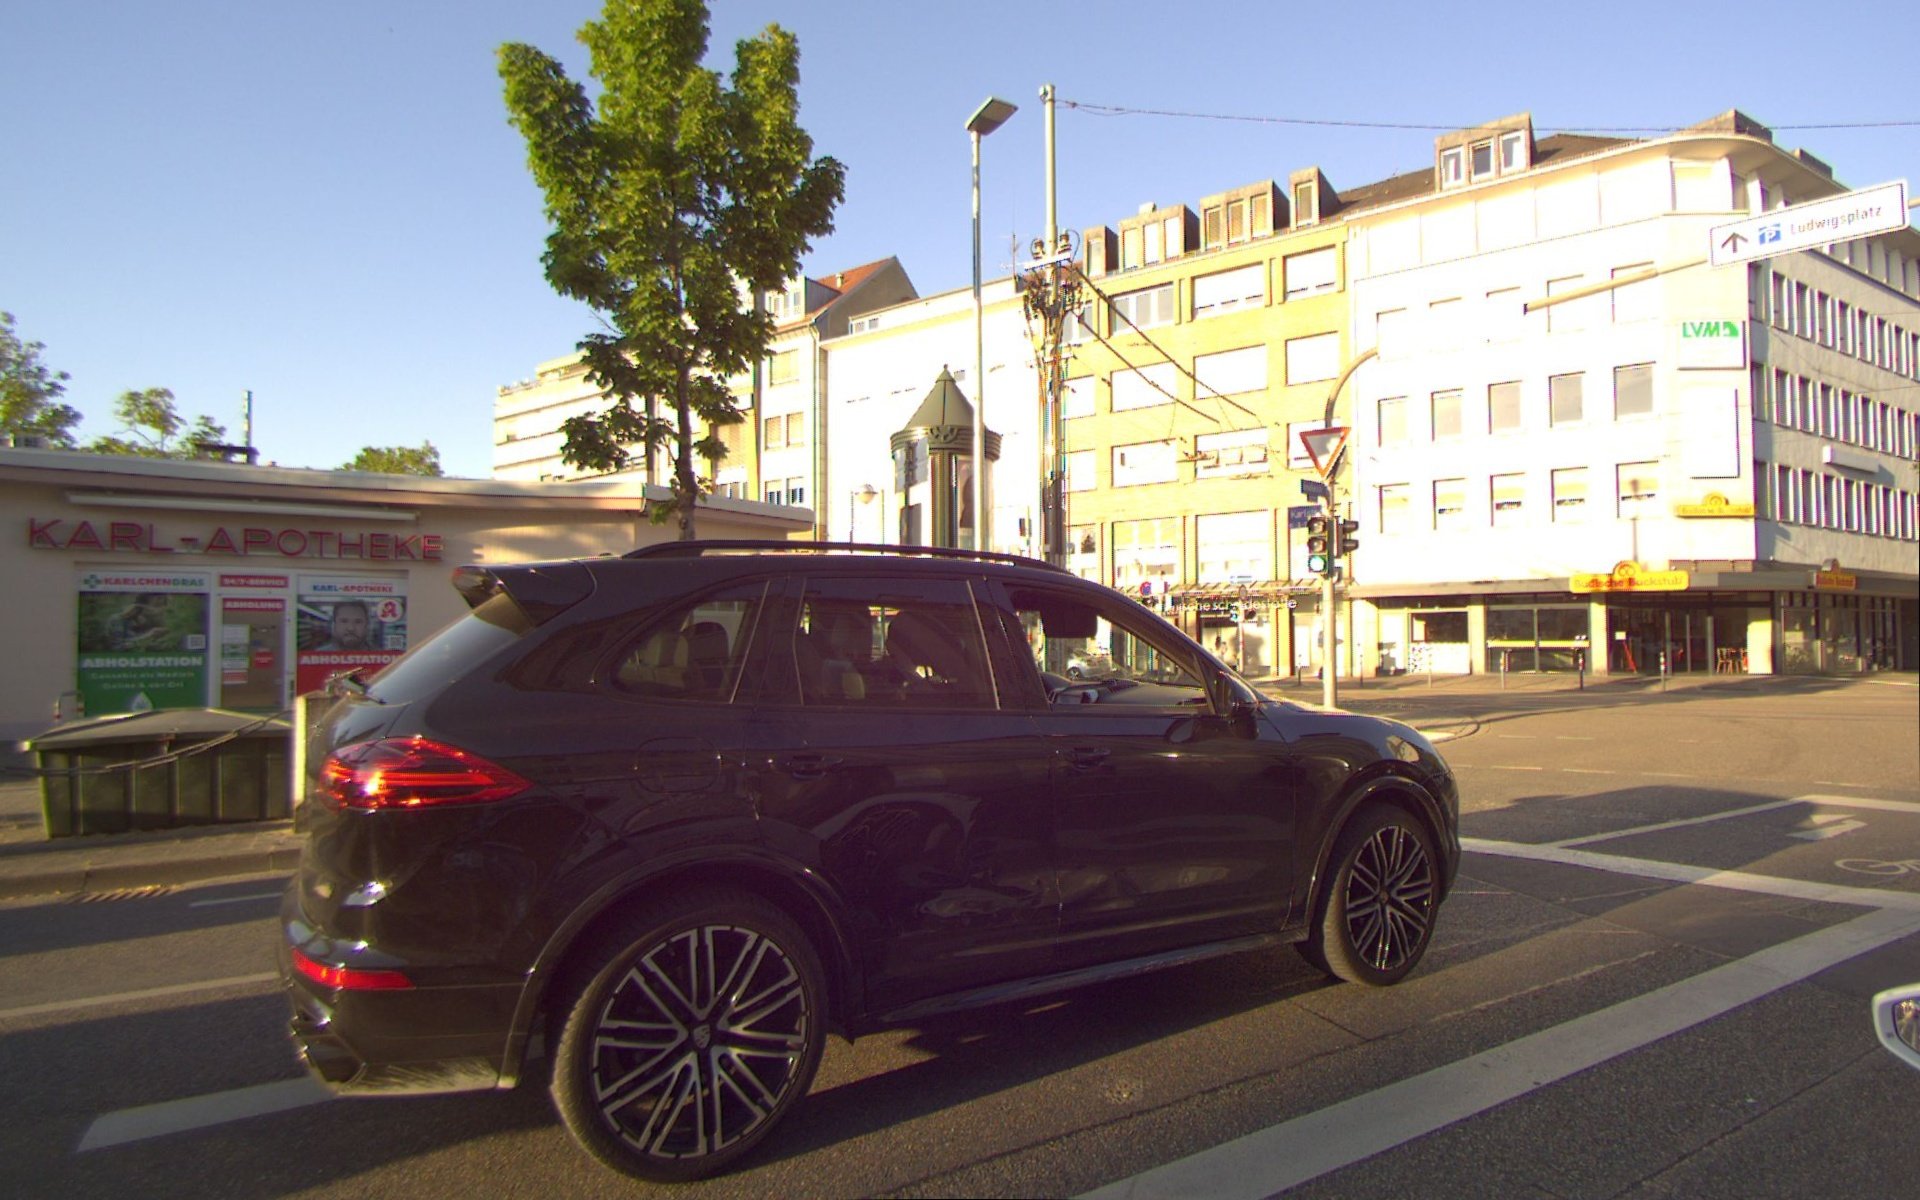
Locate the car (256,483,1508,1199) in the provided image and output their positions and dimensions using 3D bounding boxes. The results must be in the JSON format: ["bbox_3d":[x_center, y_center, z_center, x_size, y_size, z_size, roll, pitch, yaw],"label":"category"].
[{"bbox_3d":[0.025,0.677,4.046,4.516,1.720,1.792,1,-2,-31],"label":"car"}]

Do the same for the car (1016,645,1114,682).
[{"bbox_3d":[4.020,2.437,38.508,3.334,1.270,1.631,-3,-1,36],"label":"car"}]

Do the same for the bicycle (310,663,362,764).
[{"bbox_3d":[-7.631,1.345,12.325,0.443,1.128,1.858,2,-3,-29],"label":"bicycle"}]

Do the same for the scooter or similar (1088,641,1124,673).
[{"bbox_3d":[6.049,2.369,41.683,1.443,1.275,0.394,-3,-2,37],"label":"scooter or similar"}]

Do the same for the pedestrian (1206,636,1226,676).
[{"bbox_3d":[9.746,2.119,38.215,0.613,1.491,0.544,-2,1,19],"label":"pedestrian"}]

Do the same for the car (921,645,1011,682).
[{"bbox_3d":[0.243,2.609,41.098,3.334,1.371,1.631,-3,-1,36],"label":"car"}]
